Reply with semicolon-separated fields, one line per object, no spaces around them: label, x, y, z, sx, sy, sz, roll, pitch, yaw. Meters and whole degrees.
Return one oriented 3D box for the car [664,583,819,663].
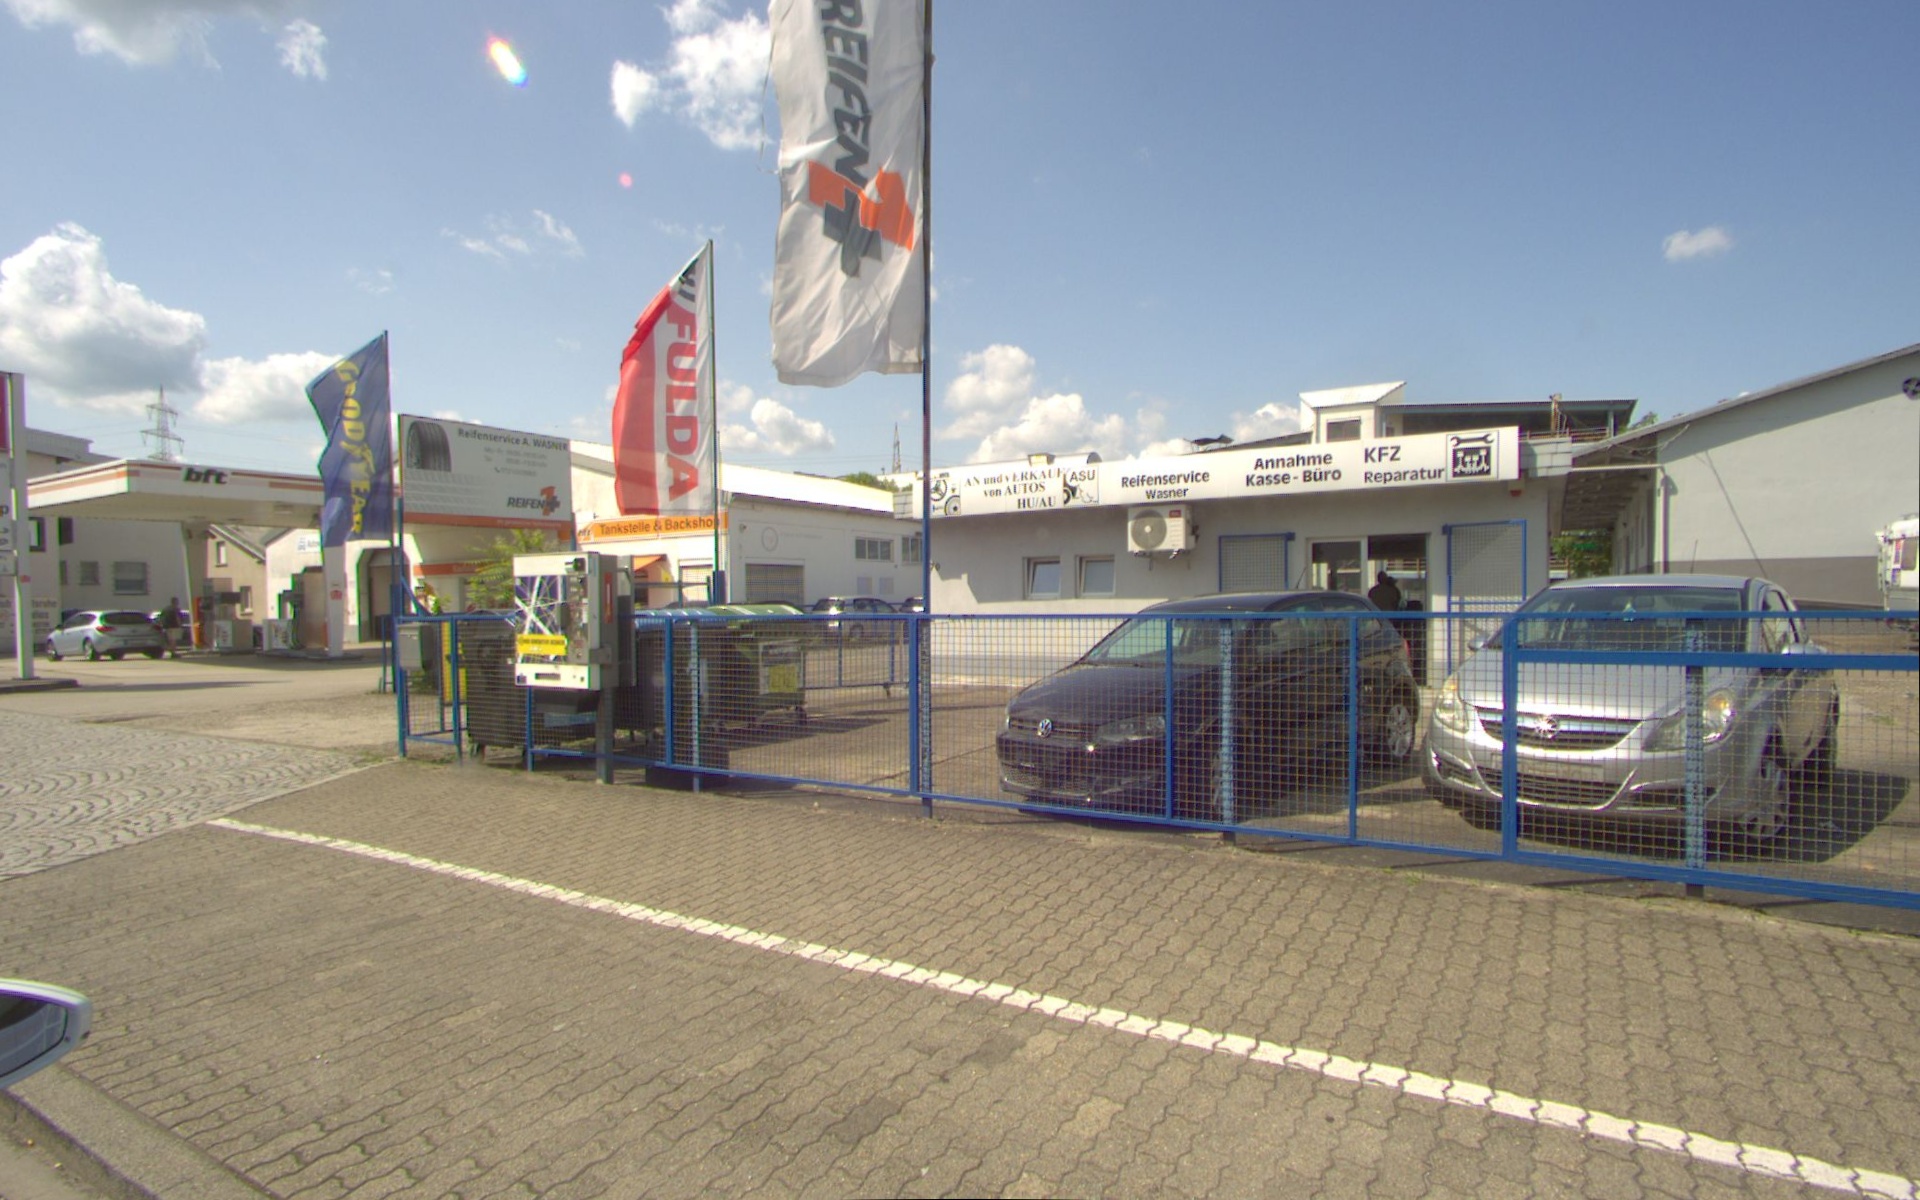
car;-5.943;0.573;27.631;1.971;2.040;3.979;0;0;32

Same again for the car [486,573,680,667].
car;-8.909;0.437;23.977;1.971;2.040;3.979;0;0;32

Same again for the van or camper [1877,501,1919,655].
van or camper;21.351;-0.459;19.315;4.983;3.002;2.276;0;1;31

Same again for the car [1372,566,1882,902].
car;4.506;0.586;6.506;4.104;1.499;1.787;-1;0;-42

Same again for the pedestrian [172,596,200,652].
pedestrian;-23.735;0.733;30.711;0.628;1.705;0.618;-1;1;-36

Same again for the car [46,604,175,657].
car;-25.829;0.893;30.430;3.950;1.499;1.829;-1;1;31

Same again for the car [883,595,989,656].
car;-0.800;0.866;35.872;1.971;2.040;3.979;0;0;32

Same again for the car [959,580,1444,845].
car;2.018;0.626;7.643;3.962;1.499;1.705;-1;1;-43

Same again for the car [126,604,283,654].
car;-26.542;0.983;35.342;4.048;1.646;1.681;-1;1;-20

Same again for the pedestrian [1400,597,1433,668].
pedestrian;7.983;0.562;17.519;0.480;1.229;0.499;0;1;30

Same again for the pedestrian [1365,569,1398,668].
pedestrian;7.399;0.325;17.567;0.480;1.710;0.499;0;1;30

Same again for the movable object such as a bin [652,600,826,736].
movable object such as a bin;-2.602;0.743;11.894;1.433;1.473;1.427;0;1;31

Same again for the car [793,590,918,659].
car;-3.260;0.730;31.982;1.971;2.040;3.979;0;0;32

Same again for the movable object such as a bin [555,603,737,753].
movable object such as a bin;-3.367;0.775;10.780;1.434;1.473;1.224;0;1;31

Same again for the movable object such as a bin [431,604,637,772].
movable object such as a bin;-4.128;0.784;9.740;1.434;1.473;1.224;0;1;31
